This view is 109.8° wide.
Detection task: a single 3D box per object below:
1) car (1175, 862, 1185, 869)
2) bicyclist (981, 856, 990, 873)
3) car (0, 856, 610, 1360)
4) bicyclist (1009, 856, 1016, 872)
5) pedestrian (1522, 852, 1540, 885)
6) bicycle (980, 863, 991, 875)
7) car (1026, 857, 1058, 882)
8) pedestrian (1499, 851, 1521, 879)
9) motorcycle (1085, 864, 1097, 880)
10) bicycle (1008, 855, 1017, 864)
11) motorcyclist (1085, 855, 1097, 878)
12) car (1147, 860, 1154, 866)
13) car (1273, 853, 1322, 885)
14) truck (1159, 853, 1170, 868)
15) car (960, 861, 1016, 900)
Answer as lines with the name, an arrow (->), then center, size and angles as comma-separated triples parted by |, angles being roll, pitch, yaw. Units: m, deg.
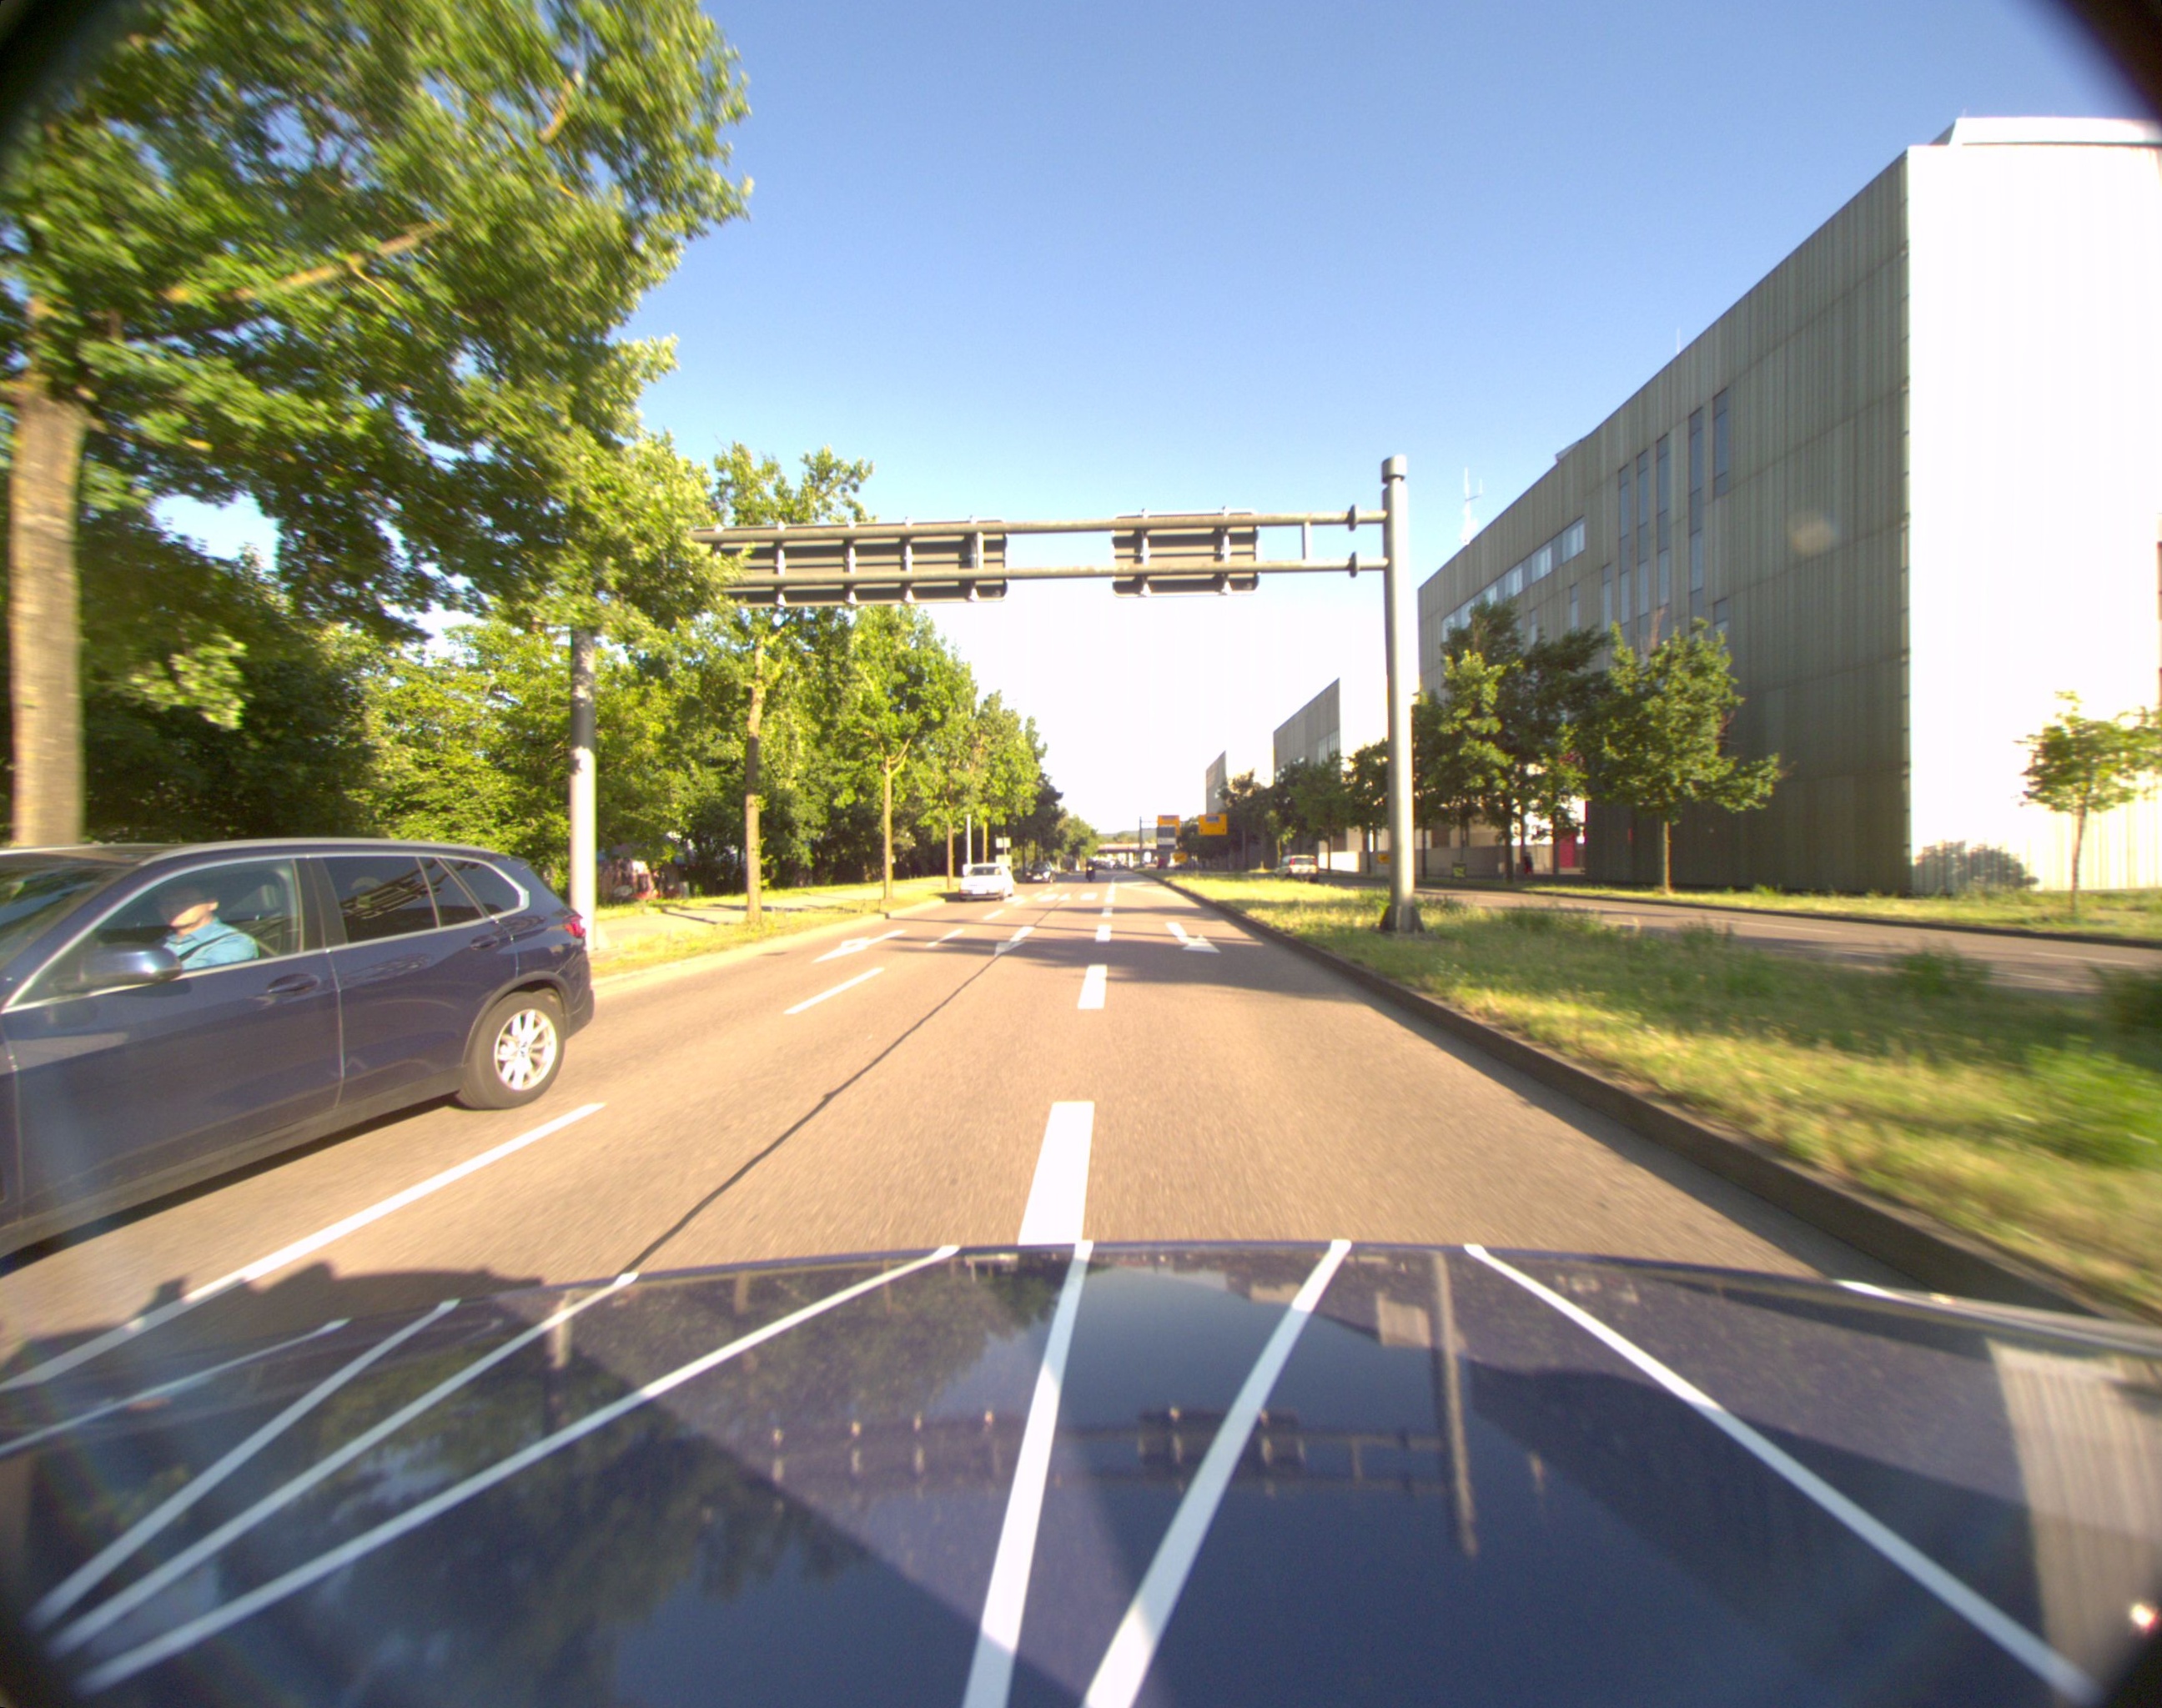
car -> 24.371, 2.840, 186.940 | 1.600, 1.503, 3.866 | -1, -1, -4
bicyclist -> -8.350, 0.904, 66.678 | 0.614, 1.493, 0.848 | -1, 0, 5
car -> -4.684, 0.911, 3.445 | 1.959, 1.716, 4.700 | -2, 0, 3
bicyclist -> -7.495, 1.107, 83.669 | 0.604, 1.723, 0.848 | -1, 0, 5
pedestrian -> 25.527, 0.811, 43.102 | 0.634, 1.830, 0.717 | -1, 0, 4
bicycle -> -8.357, 1.302, 66.570 | 0.618, 0.968, 1.822 | -1, 0, 5
car -> -2.551, 1.022, 50.441 | 1.725, 1.490, 4.214 | -2, 0, 2
pedestrian -> 24.796, 0.652, 43.919 | 0.778, 1.592, 0.909 | -1, 0, 4
motorcycle -> 0.679, 1.188, 50.525 | 0.749, 0.977, 2.141 | 0, 0, 2
bicycle -> -7.520, 0.652, 83.349 | 0.618, 0.968, 2.059 | -1, 0, 5
motorcyclist -> 0.677, 0.800, 50.442 | 0.734, 1.503, 0.919 | 0, 0, 1
car -> 20.265, 2.643, 223.028 | 1.998, 1.805, 4.403 | 0, -1, 4
car -> 11.123, 0.741, 39.230 | 1.566, 1.565, 3.412 | 0, 0, 0
truck -> 22.709, 1.774, 207.401 | 3.004, 3.788, 10.095 | -1, -1, 6
car -> -3.560, 1.006, 29.708 | 1.615, 1.390, 4.039 | -1, -1, 1
